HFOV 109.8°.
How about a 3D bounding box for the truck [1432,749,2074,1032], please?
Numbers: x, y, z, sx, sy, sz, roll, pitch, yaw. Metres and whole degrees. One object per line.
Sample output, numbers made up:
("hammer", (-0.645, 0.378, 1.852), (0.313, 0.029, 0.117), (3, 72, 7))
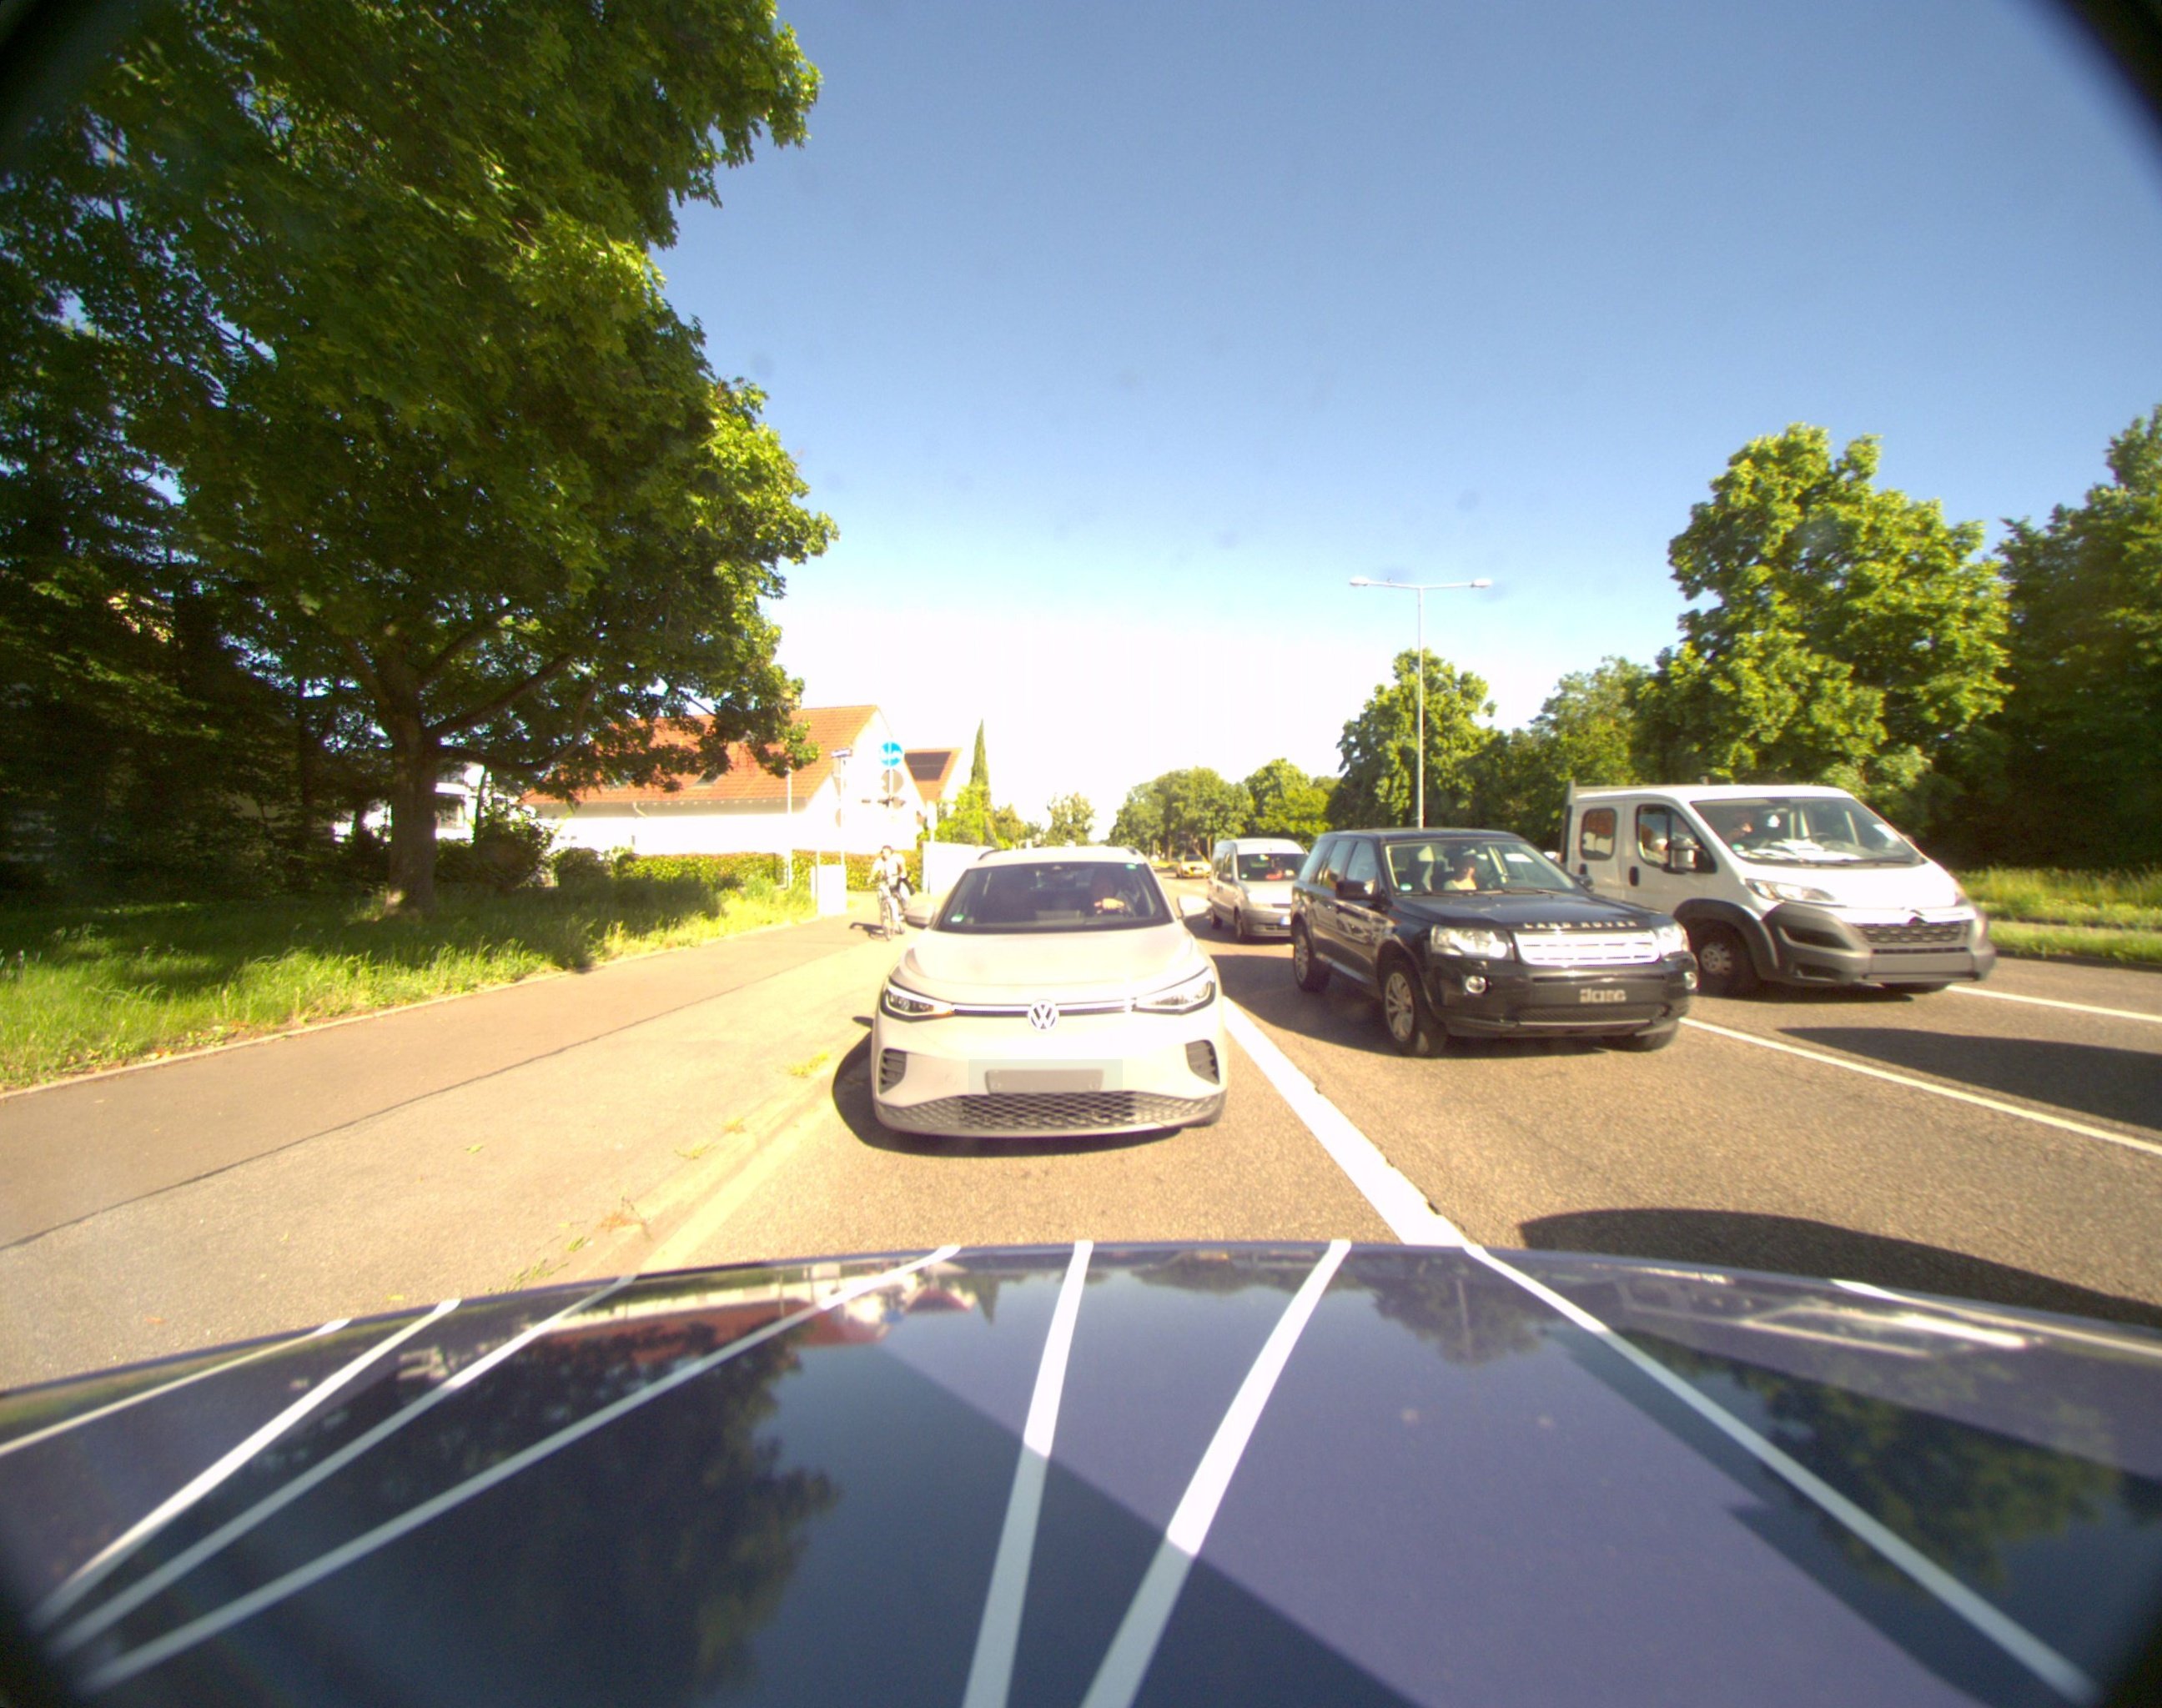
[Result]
("truck", (7.201, 0.271, 9.768), (2.185, 2.307, 6.842), (-2, 1, 0))

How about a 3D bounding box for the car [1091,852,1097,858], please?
("car", (3.559, 0.183, 207.371), (1.726, 1.630, 4.000), (0, 0, 1))

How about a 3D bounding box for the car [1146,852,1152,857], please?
("car", (20.918, 0.234, 233.821), (1.792, 1.409, 4.000), (0, 0, 1))

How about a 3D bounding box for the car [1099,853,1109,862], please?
("car", (4.303, 0.580, 140.653), (1.726, 1.630, 4.000), (0, 0, 1))

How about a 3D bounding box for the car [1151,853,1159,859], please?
("car", (20.548, 0.611, 211.729), (1.792, 1.674, 4.000), (0, 0, 1))

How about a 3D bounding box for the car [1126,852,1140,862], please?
("car", (8.328, 0.469, 121.937), (1.727, 1.436, 3.999), (0, 0, -1))

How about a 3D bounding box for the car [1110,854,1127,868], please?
("car", (4.183, 0.746, 85.188), (1.630, 1.466, 3.931), (-1, 0, 0))

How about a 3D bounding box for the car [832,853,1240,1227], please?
("car", (-0.181, 0.850, 5.574), (1.858, 1.679, 4.206), (0, 1, 1))

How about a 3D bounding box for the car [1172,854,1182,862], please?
("car", (21.154, 0.806, 167.546), (1.878, 1.674, 4.000), (0, 0, 1))

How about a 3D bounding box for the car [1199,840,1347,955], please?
("car", (3.313, 0.655, 13.964), (1.632, 1.741, 4.386), (-2, 1, 1))

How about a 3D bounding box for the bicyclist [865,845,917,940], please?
("bicyclist", (-3.303, 0.649, 13.260), (0.580, 1.572, 0.997), (3, 0, 1))

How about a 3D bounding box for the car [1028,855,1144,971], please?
("car", (0.097, 0.867, 13.017), (1.632, 1.586, 4.024), (-2, 1, 1))

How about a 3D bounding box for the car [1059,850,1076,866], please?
("car", (-1.368, 0.396, 78.300), (1.630, 1.523, 3.931), (-1, 0, 0))

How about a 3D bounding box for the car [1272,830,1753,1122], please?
("car", (3.155, 0.717, 6.769), (1.816, 1.721, 4.386), (-2, 1, 1))

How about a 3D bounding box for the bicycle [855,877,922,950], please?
("bicycle", (-3.319, 0.997, 13.268), (0.580, 1.091, 1.988), (3, 0, 1))

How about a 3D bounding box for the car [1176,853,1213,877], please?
("car", (7.093, 0.662, 47.882), (1.704, 1.466, 3.931), (-1, 0, 0))
